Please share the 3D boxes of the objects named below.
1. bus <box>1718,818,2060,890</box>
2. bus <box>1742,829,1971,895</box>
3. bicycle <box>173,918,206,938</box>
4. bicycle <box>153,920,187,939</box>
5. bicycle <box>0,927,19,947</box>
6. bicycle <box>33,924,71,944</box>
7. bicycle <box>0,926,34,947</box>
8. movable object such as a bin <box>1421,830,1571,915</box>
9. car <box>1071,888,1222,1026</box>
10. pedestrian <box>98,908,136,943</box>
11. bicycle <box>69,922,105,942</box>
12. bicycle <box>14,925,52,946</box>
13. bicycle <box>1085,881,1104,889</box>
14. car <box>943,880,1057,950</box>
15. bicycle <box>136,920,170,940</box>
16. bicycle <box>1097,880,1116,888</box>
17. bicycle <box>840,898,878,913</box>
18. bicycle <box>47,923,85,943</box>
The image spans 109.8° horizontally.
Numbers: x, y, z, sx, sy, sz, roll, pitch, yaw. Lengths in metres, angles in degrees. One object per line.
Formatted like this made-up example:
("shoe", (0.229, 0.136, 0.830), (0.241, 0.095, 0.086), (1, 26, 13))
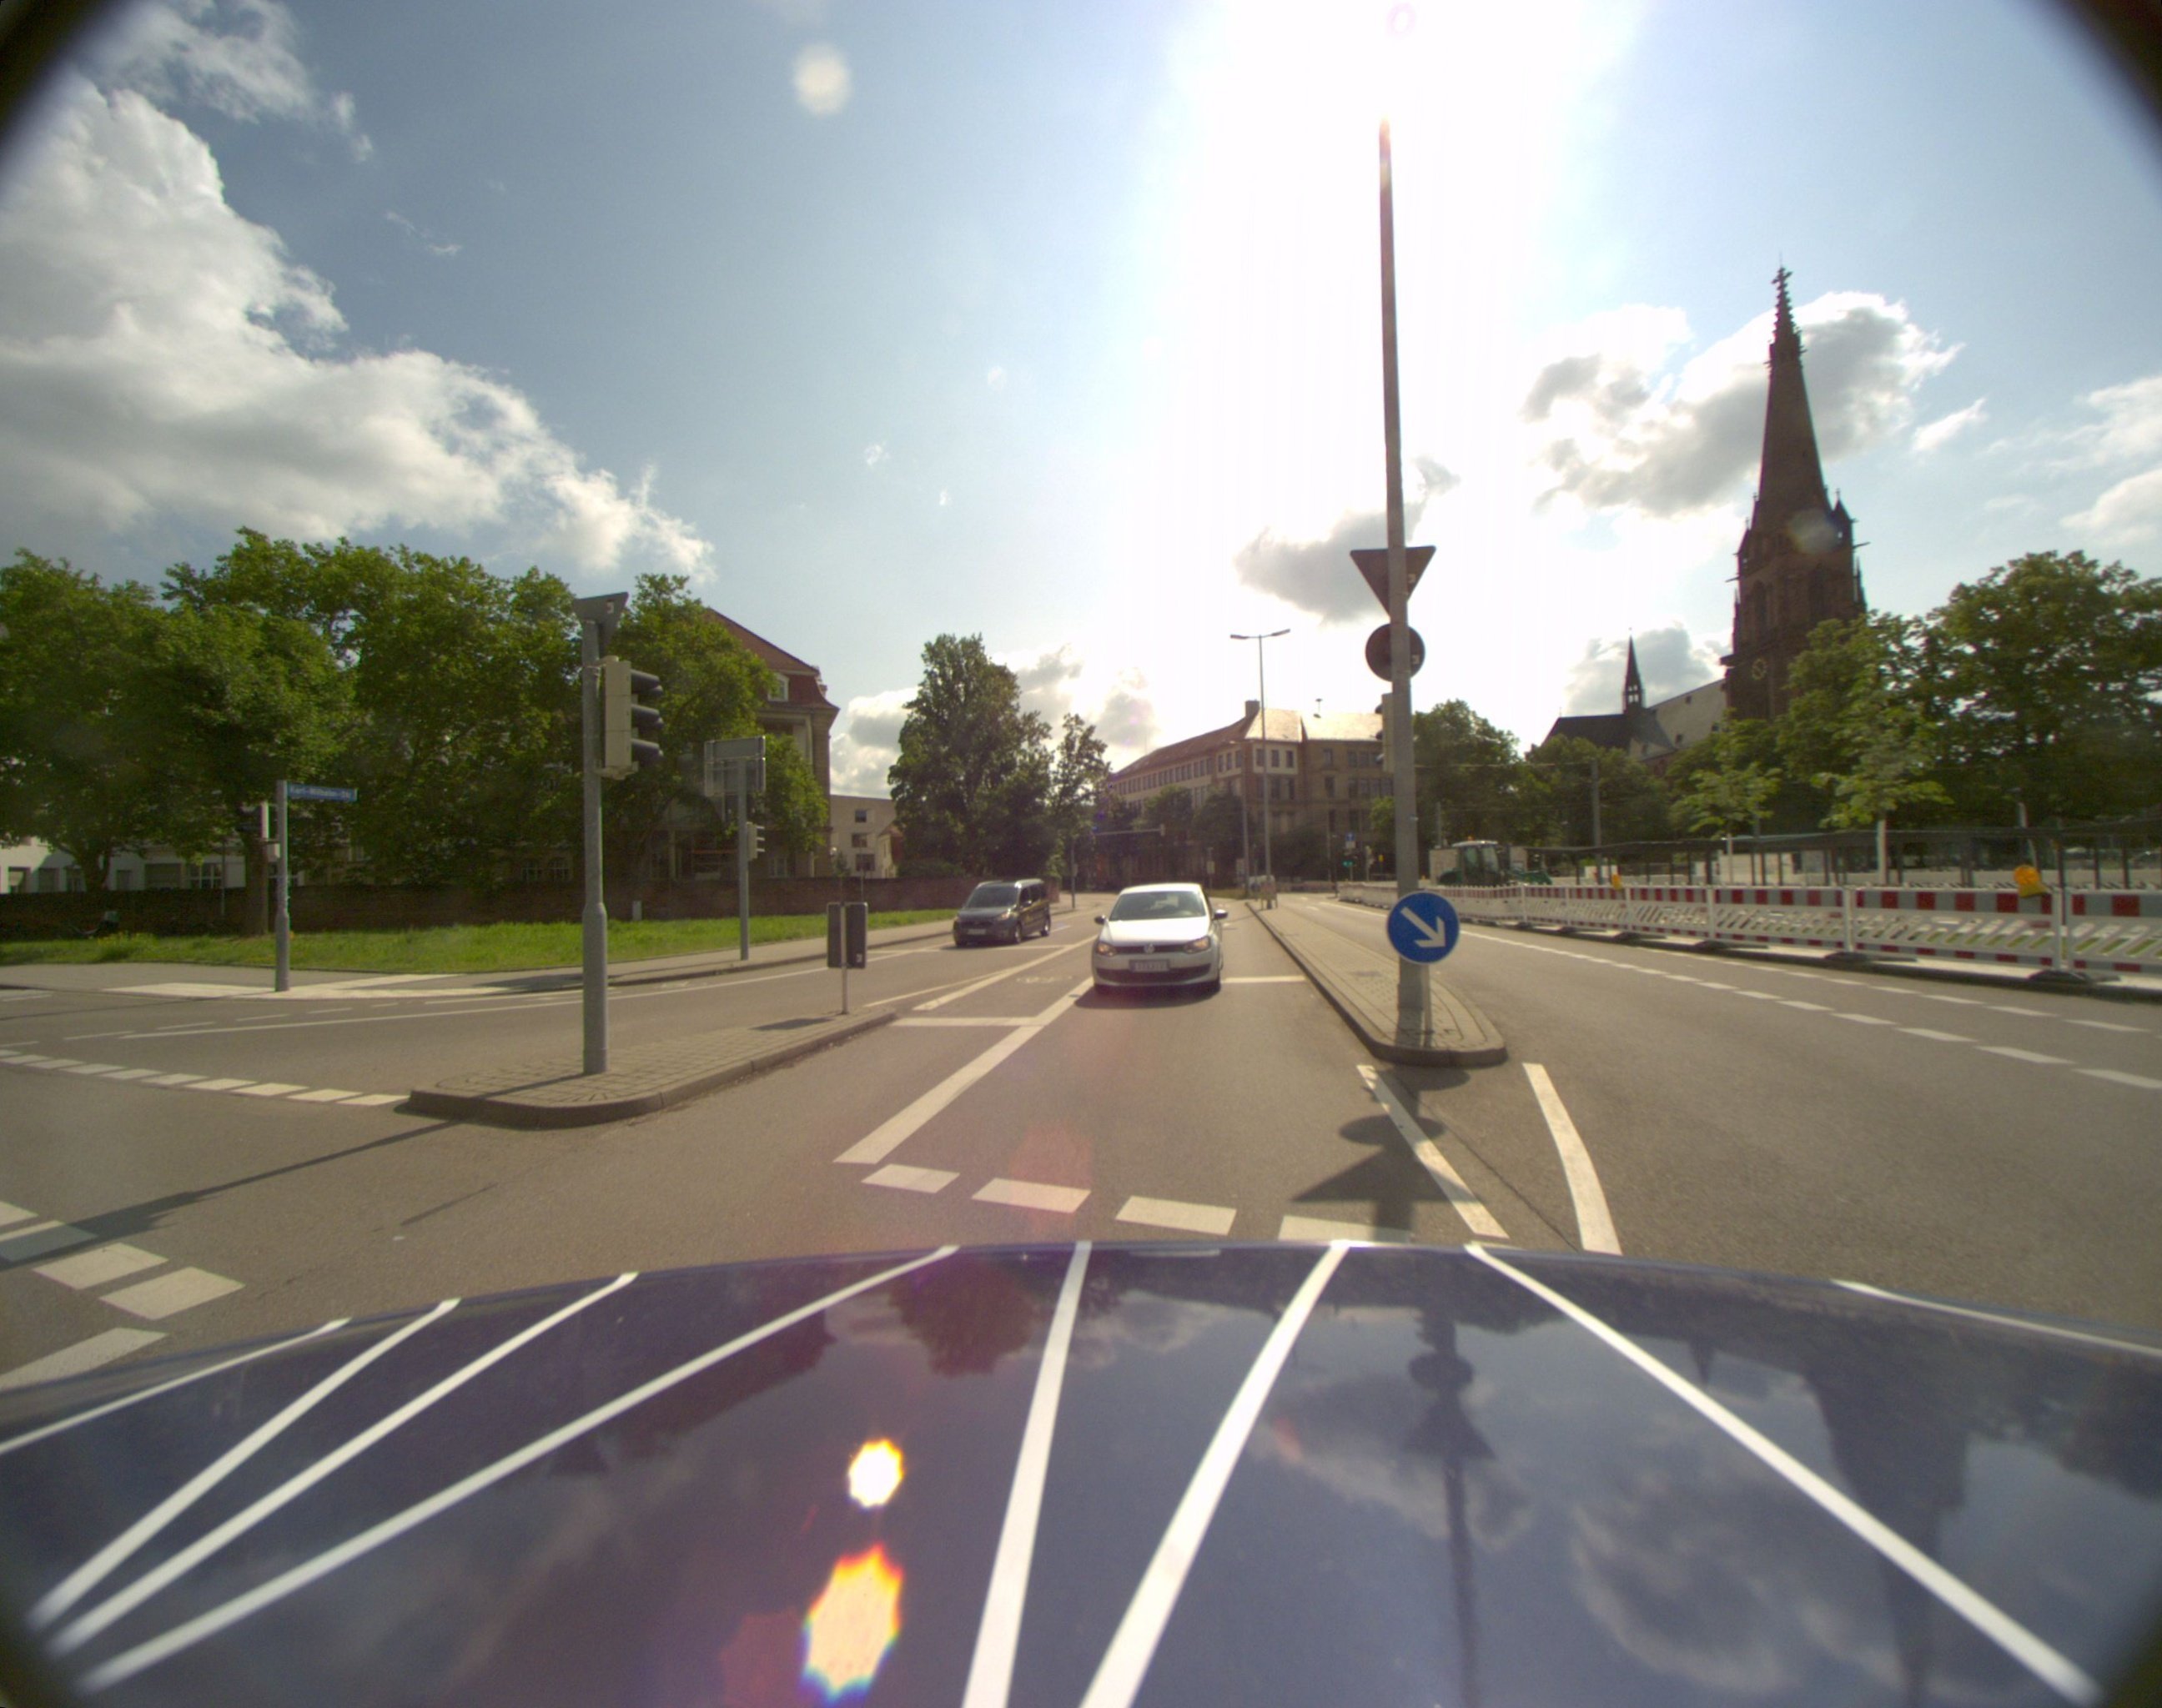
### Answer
("bus", (41.757, 0.156, 40.311), (2.997, 3.242, 12.055), (-1, -1, -24))
("bus", (39.111, 0.493, 38.785), (2.377, 3.039, 7.750), (-1, -2, -24))
("bicycle", (-41.538, 3.436, 35.412), (0.483, 0.843, 0.973), (-1, -2, -11))
("bicycle", (-42.191, 3.491, 35.207), (0.483, 0.843, 0.973), (-1, -2, -11))
("bicycle", (-48.473, 3.730, 34.037), (0.483, 0.843, 0.973), (-1, -2, -11))
("bicycle", (-46.633, 3.624, 34.444), (0.483, 0.843, 0.973), (-1, -2, -11))
("bicycle", (-47.932, 3.699, 34.161), (0.483, 0.843, 0.973), (-1, -2, -11))
("movable object such as a bin", (15.387, 0.719, 28.423), (2.003, 2.931, 4.441), (0, -2, -32))
("car", (1.094, 1.287, 10.717), (1.654, 1.433, 4.009), (-4, -2, 10))
("pedestrian", (-43.333, 3.207, 34.155), (0.725, 1.524, 0.725), (-1, 0, -13))
("bicycle", (-45.354, 3.550, 34.682), (0.483, 0.843, 0.973), (-1, -2, -11))
("bicycle", (-47.296, 3.662, 34.301), (0.483, 0.843, 0.973), (-1, -2, -11))
("bicycle", (2.228, 5.155, 126.553), (2.889, 1.200, 1.074), (-2, 2, 18))
("car", (-2.247, 1.699, 22.394), (1.852, 1.774, 4.677), (-3, -2, 13))
("bicycle", (-42.815, 3.506, 35.076), (0.483, 0.843, 0.973), (-1, -2, -11))
("bicycle", (4.120, 4.950, 123.981), (2.889, 1.200, 1.051), (-2, 2, 18))
("bicycle", (-13.508, 3.130, 46.311), (2.064, 0.856, 0.856), (0, 0, -35))
("bicycle", (-46.069, 3.588, 34.496), (0.483, 0.843, 0.973), (-1, -2, -11))
